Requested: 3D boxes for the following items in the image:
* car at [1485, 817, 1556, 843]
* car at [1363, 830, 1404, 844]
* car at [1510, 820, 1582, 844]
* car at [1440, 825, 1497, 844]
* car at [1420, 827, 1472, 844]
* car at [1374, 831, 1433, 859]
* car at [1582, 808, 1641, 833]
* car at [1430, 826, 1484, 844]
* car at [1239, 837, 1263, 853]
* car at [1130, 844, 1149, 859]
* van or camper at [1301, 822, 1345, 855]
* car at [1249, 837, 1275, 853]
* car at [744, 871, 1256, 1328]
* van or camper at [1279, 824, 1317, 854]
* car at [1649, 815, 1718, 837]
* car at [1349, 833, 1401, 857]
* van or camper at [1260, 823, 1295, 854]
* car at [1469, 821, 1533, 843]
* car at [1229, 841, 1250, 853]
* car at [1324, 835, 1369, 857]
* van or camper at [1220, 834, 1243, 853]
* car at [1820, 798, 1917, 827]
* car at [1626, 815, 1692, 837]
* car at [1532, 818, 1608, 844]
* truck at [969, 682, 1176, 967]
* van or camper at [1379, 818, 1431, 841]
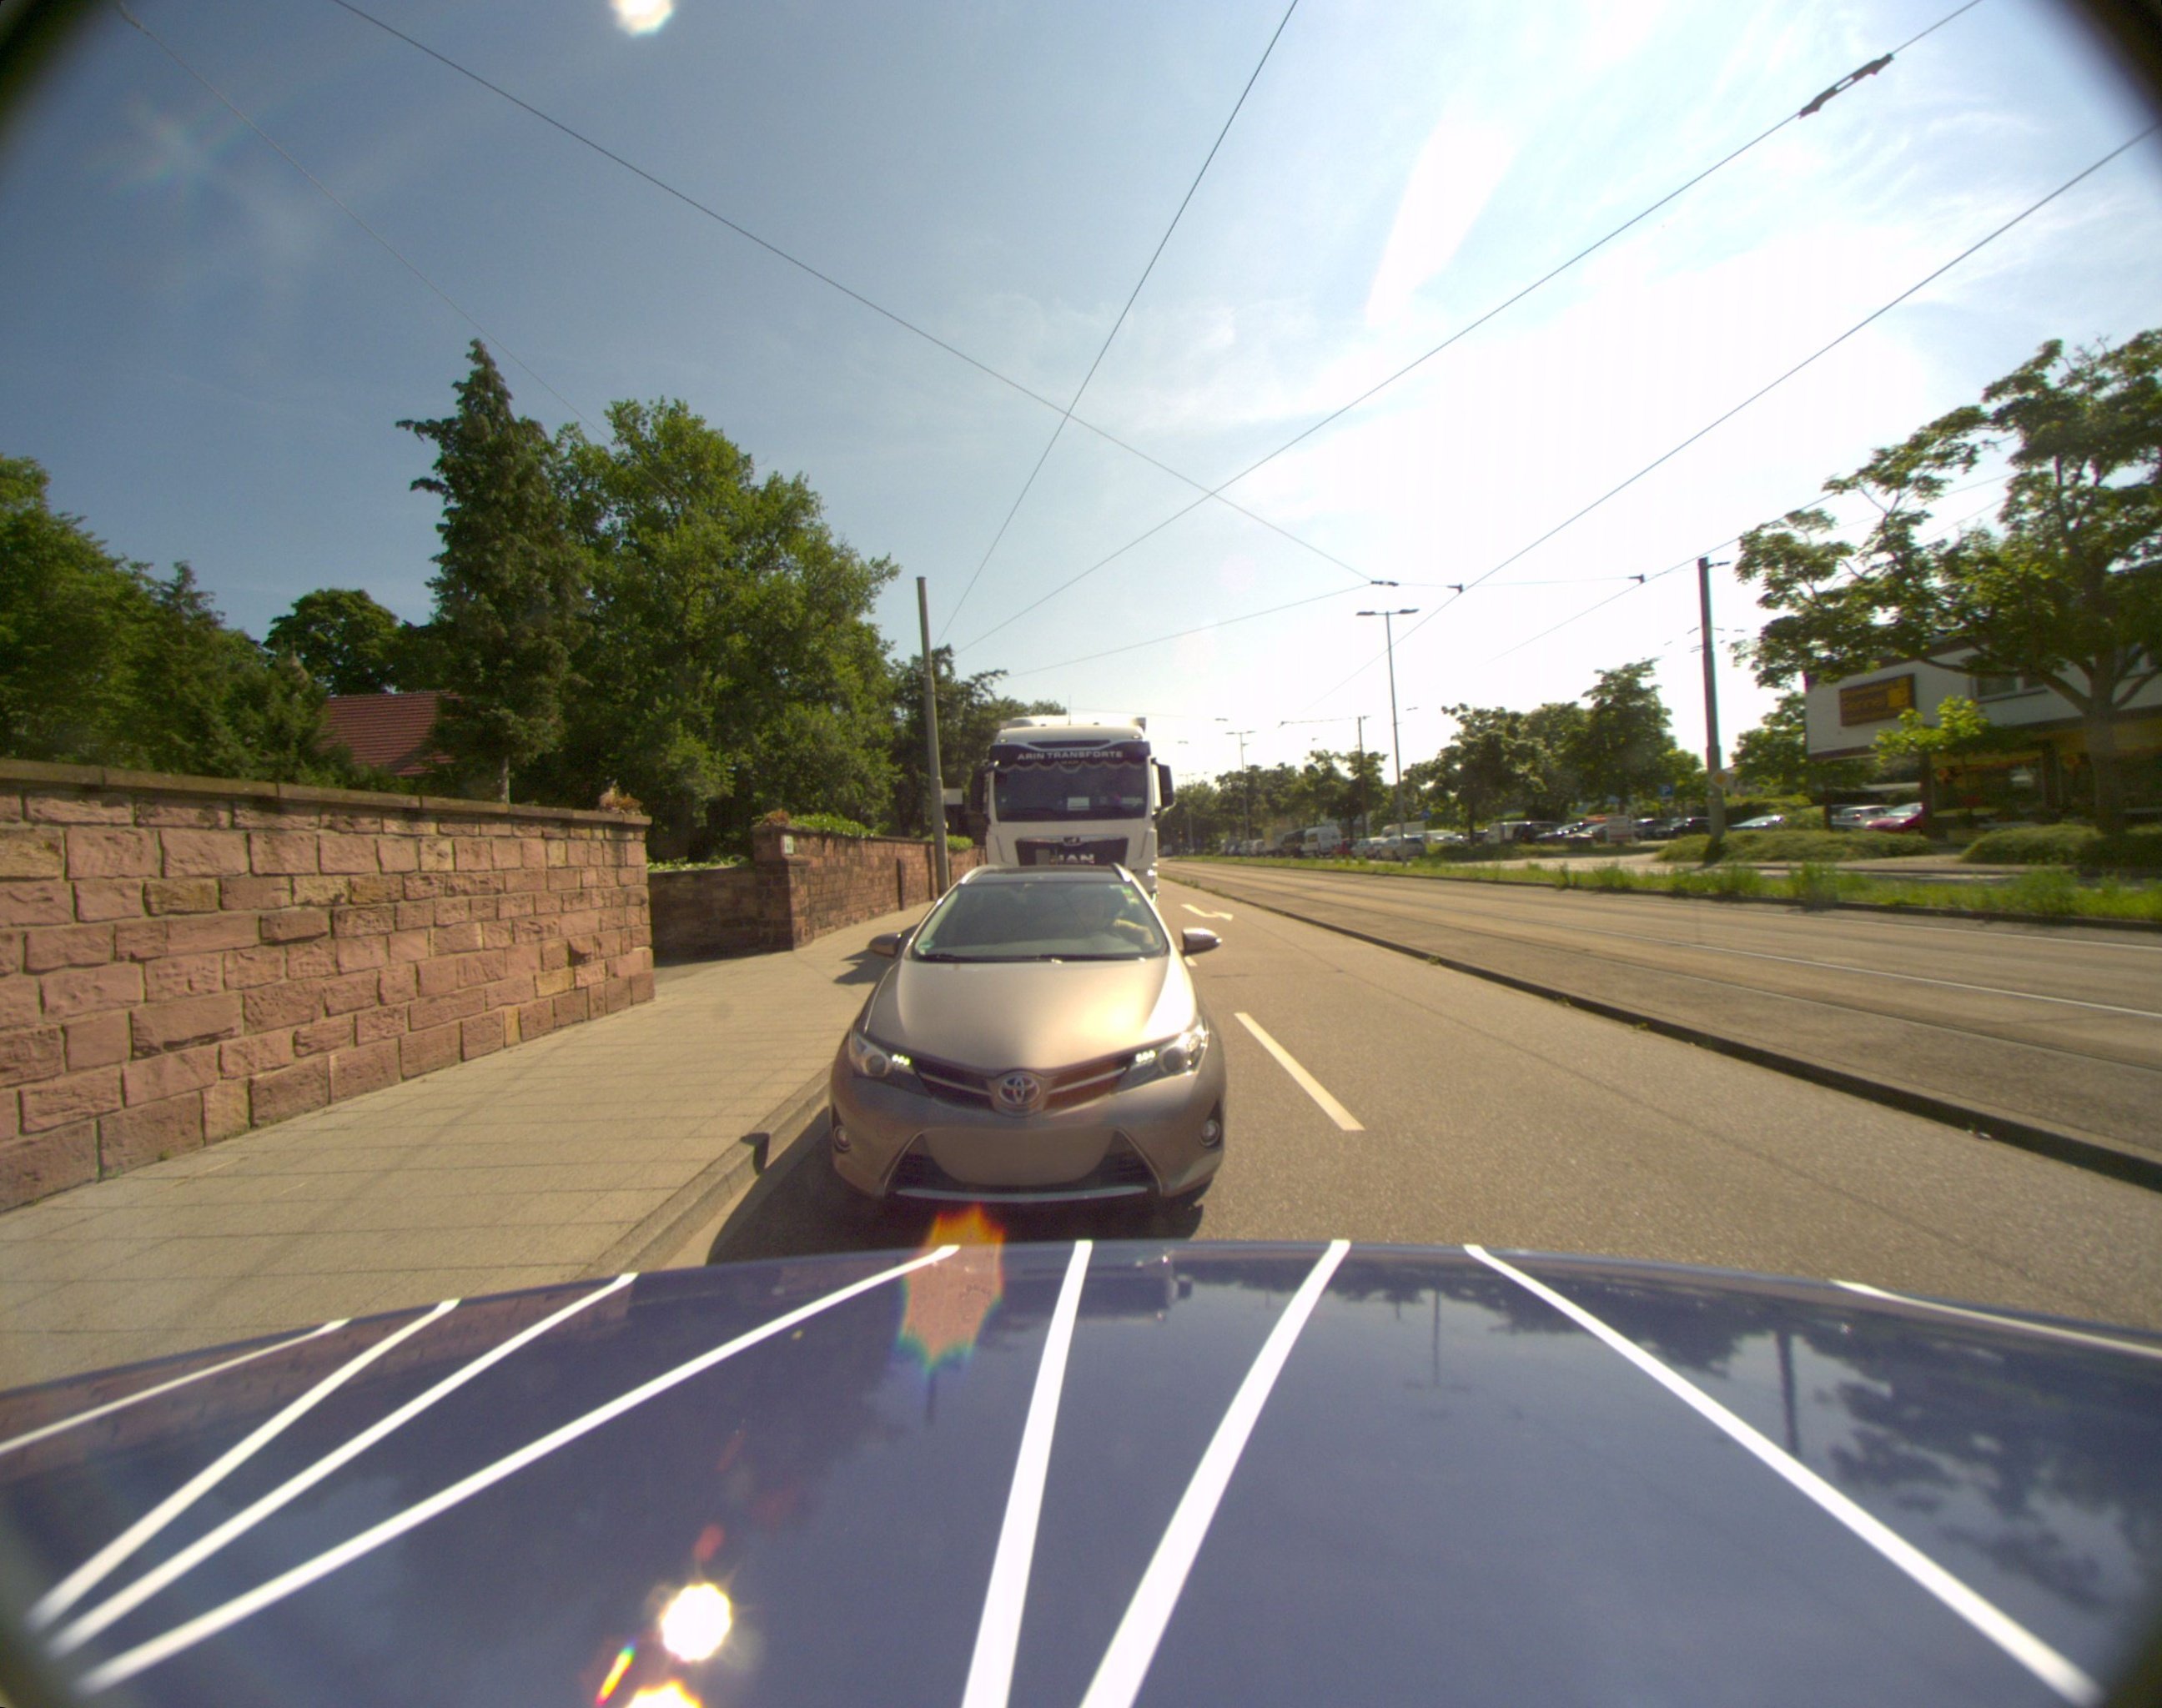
[{"bbox_3d":[30.442,-1.637,52.668,3.749,1.560,1.951,-3,1,-1],"label":"car"},{"bbox_3d":[31.994,-1.789,80.367,3.624,1.274,1.712,-3,1,-1],"label":"car"},{"bbox_3d":[30.693,-1.439,50.202,3.624,1.353,1.712,-3,1,-1],"label":"car"},{"bbox_3d":[31.043,-1.535,60.889,3.624,1.274,1.812,-3,0,-1],"label":"car"},{"bbox_3d":[31.683,-1.616,66.029,3.624,1.274,1.712,-3,1,-1],"label":"car"},{"bbox_3d":[20.374,-0.538,48.161,1.892,1.486,4.285,-6,0,2],"label":"car"},{"bbox_3d":[43.622,-2.720,62.483,3.624,1.767,1.712,-3,1,-1],"label":"car"},{"bbox_3d":[31.459,-1.581,63.670,3.624,1.274,1.712,-3,1,-1],"label":"car"},{"bbox_3d":[21.042,-1.080,94.295,1.893,1.757,4.232,-3,0,0],"label":"car"},{"bbox_3d":[7.255,-0.349,94.303,1.817,1.725,4.024,-2,1,11],"label":"car"},{"bbox_3d":[20.262,-1.260,63.800,2.040,2.617,4.839,-3,0,0],"label":"van or camper"},{"bbox_3d":[20.769,-1.020,87.359,1.893,1.724,4.232,-3,0,0],"label":"car"},{"bbox_3d":[-0.255,0.921,4.908,1.742,1.424,4.462,-3,0,1],"label":"car"},{"bbox_3d":[20.208,-1.337,70.855,2.040,2.617,4.839,-3,0,0],"label":"van or camper"},{"bbox_3d":[43.526,-2.033,54.946,3.624,1.353,1.712,-3,1,-1],"label":"car"},{"bbox_3d":[20.545,-0.627,53.279,1.893,1.551,4.285,-3,0,0],"label":"car"},{"bbox_3d":[20.281,-1.603,78.745,2.128,2.967,5.281,-3,0,0],"label":"van or camper"},{"bbox_3d":[30.369,-1.576,54.995,3.624,1.277,1.712,-3,1,-1],"label":"car"},{"bbox_3d":[20.903,-0.916,100.299,1.893,1.551,4.232,-3,0,0],"label":"car"},{"bbox_3d":[20.519,-0.619,58.860,1.893,1.486,4.232,-3,0,0],"label":"car"},{"bbox_3d":[21.193,-1.463,107.233,2.114,2.604,5.451,-2,1,1],"label":"van or camper"},{"bbox_3d":[43.781,-2.294,42.271,3.624,1.353,1.712,-3,1,-1],"label":"car"},{"bbox_3d":[43.725,-2.122,57.536,3.624,1.353,1.712,-3,1,-1],"label":"car"},{"bbox_3d":[30.490,-1.401,47.459,3.624,1.353,1.712,-3,1,-1],"label":"car"},{"bbox_3d":[-0.054,-0.436,15.055,2.746,3.852,9.110,-2,0,1],"label":"truck"},{"bbox_3d":[44.849,-3.376,105.393,6.081,2.715,2.299,-3,1,3],"label":"van or camper"}]
